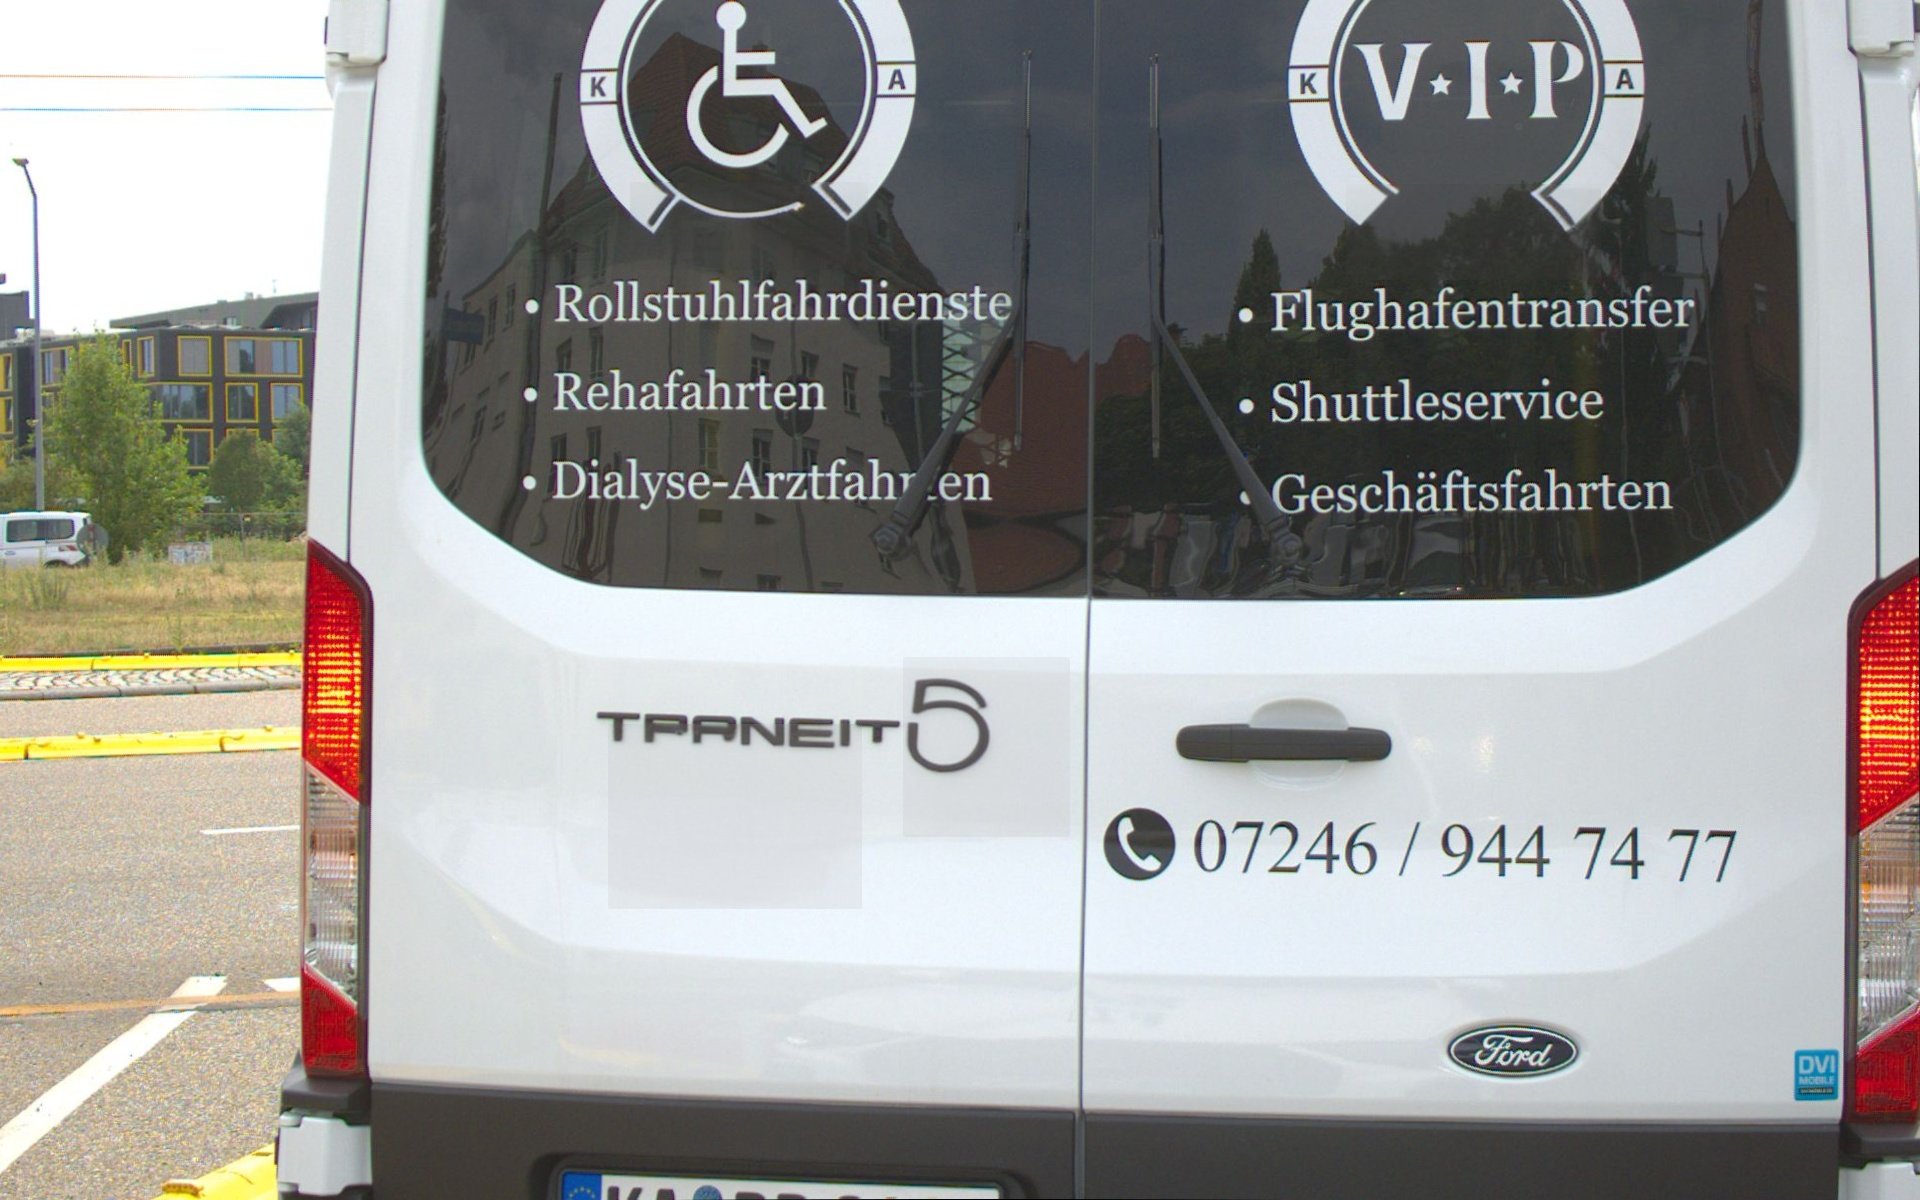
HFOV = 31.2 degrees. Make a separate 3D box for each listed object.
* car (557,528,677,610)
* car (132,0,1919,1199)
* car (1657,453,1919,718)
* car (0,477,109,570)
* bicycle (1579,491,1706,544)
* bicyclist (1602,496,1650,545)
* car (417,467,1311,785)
[{"bbox_3d":[-8.526,-0.763,85.854,1.994,2.007,3.998,0,0,10],"label":"car"},{"bbox_3d":[0.408,-0.045,6.446,2.126,2.688,5.631,-1,1,5],"label":"car"},{"bbox_3d":[6.664,-0.156,21.703,4.357,1.528,1.733,-2,2,-29],"label":"car"},{"bbox_3d":[-21.115,-1.673,75.766,4.346,2.007,2.000,0,0,-7],"label":"car"},{"bbox_3d":[12.295,-1.479,61.949,2.202,0.935,0.613,0,0,37],"label":"bicycle"},{"bbox_3d":[12.038,-1.432,62.162,0.657,0.880,0.606,0,0,37],"label":"bicyclist"},{"bbox_3d":[-0.469,0.063,17.807,4.246,1.457,1.831,-2,2,-28],"label":"car"}]
